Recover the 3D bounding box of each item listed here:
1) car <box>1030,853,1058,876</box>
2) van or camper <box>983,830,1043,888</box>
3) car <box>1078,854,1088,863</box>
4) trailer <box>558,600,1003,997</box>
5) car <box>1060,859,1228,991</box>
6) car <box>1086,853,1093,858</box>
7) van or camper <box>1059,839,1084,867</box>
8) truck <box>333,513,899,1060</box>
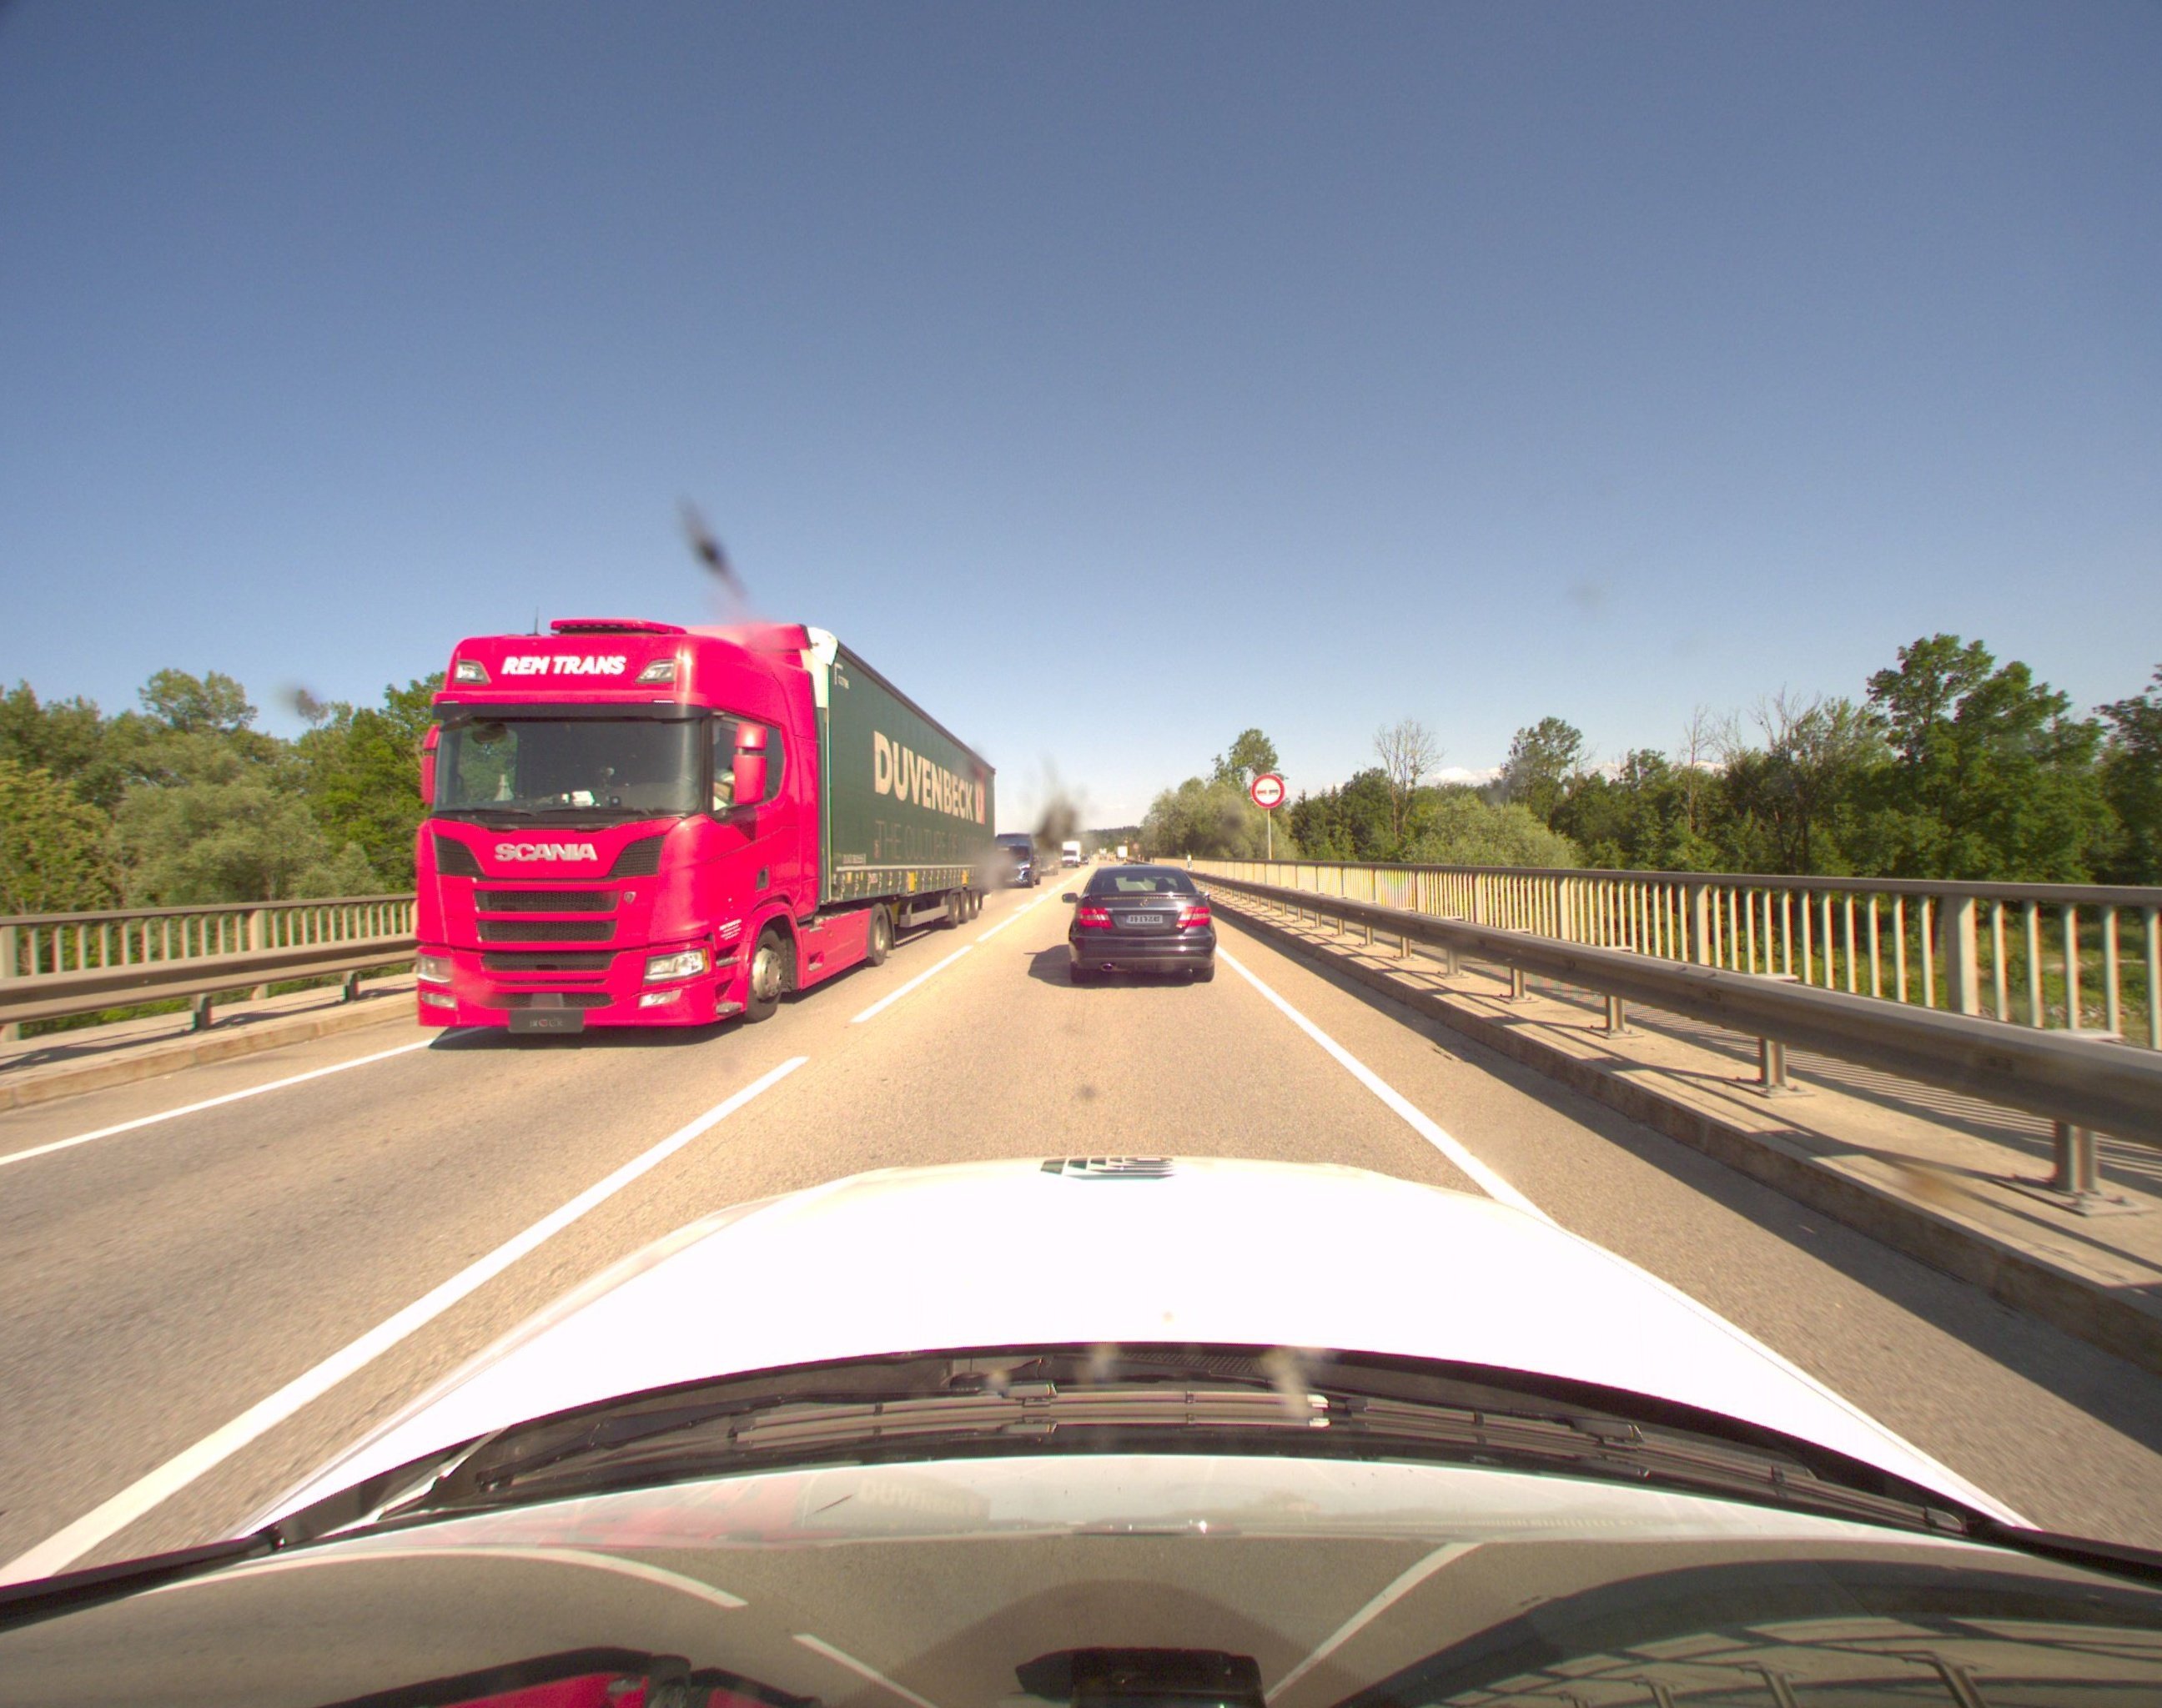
[{"bbox_3d":[-2.765,0.784,62.015,1.835,1.642,4.577,-1,0,0],"label":"car"},{"bbox_3d":[-3.263,0.237,40.531,2.422,2.642,6.403,-1,0,0],"label":"van or camper"},{"bbox_3d":[0.275,0.707,139.658,1.655,1.436,4.186,-1,0,-1],"label":"car"},{"bbox_3d":[-3.988,-0.609,16.055,2.896,4.302,14.309,-1,0,2],"label":"trailer"},{"bbox_3d":[0.782,0.779,10.798,1.786,1.376,4.003,-1,0,3],"label":"car"},{"bbox_3d":[2.759,0.505,253.438,1.795,1.606,3.921,-1,0,5],"label":"car"},{"bbox_3d":[-1.143,-0.099,100.357,2.625,3.256,7.753,-1,0,2],"label":"van or camper"},{"bbox_3d":[-4.244,-0.524,9.155,2.897,4.184,5.715,-1,0,1],"label":"truck"}]
